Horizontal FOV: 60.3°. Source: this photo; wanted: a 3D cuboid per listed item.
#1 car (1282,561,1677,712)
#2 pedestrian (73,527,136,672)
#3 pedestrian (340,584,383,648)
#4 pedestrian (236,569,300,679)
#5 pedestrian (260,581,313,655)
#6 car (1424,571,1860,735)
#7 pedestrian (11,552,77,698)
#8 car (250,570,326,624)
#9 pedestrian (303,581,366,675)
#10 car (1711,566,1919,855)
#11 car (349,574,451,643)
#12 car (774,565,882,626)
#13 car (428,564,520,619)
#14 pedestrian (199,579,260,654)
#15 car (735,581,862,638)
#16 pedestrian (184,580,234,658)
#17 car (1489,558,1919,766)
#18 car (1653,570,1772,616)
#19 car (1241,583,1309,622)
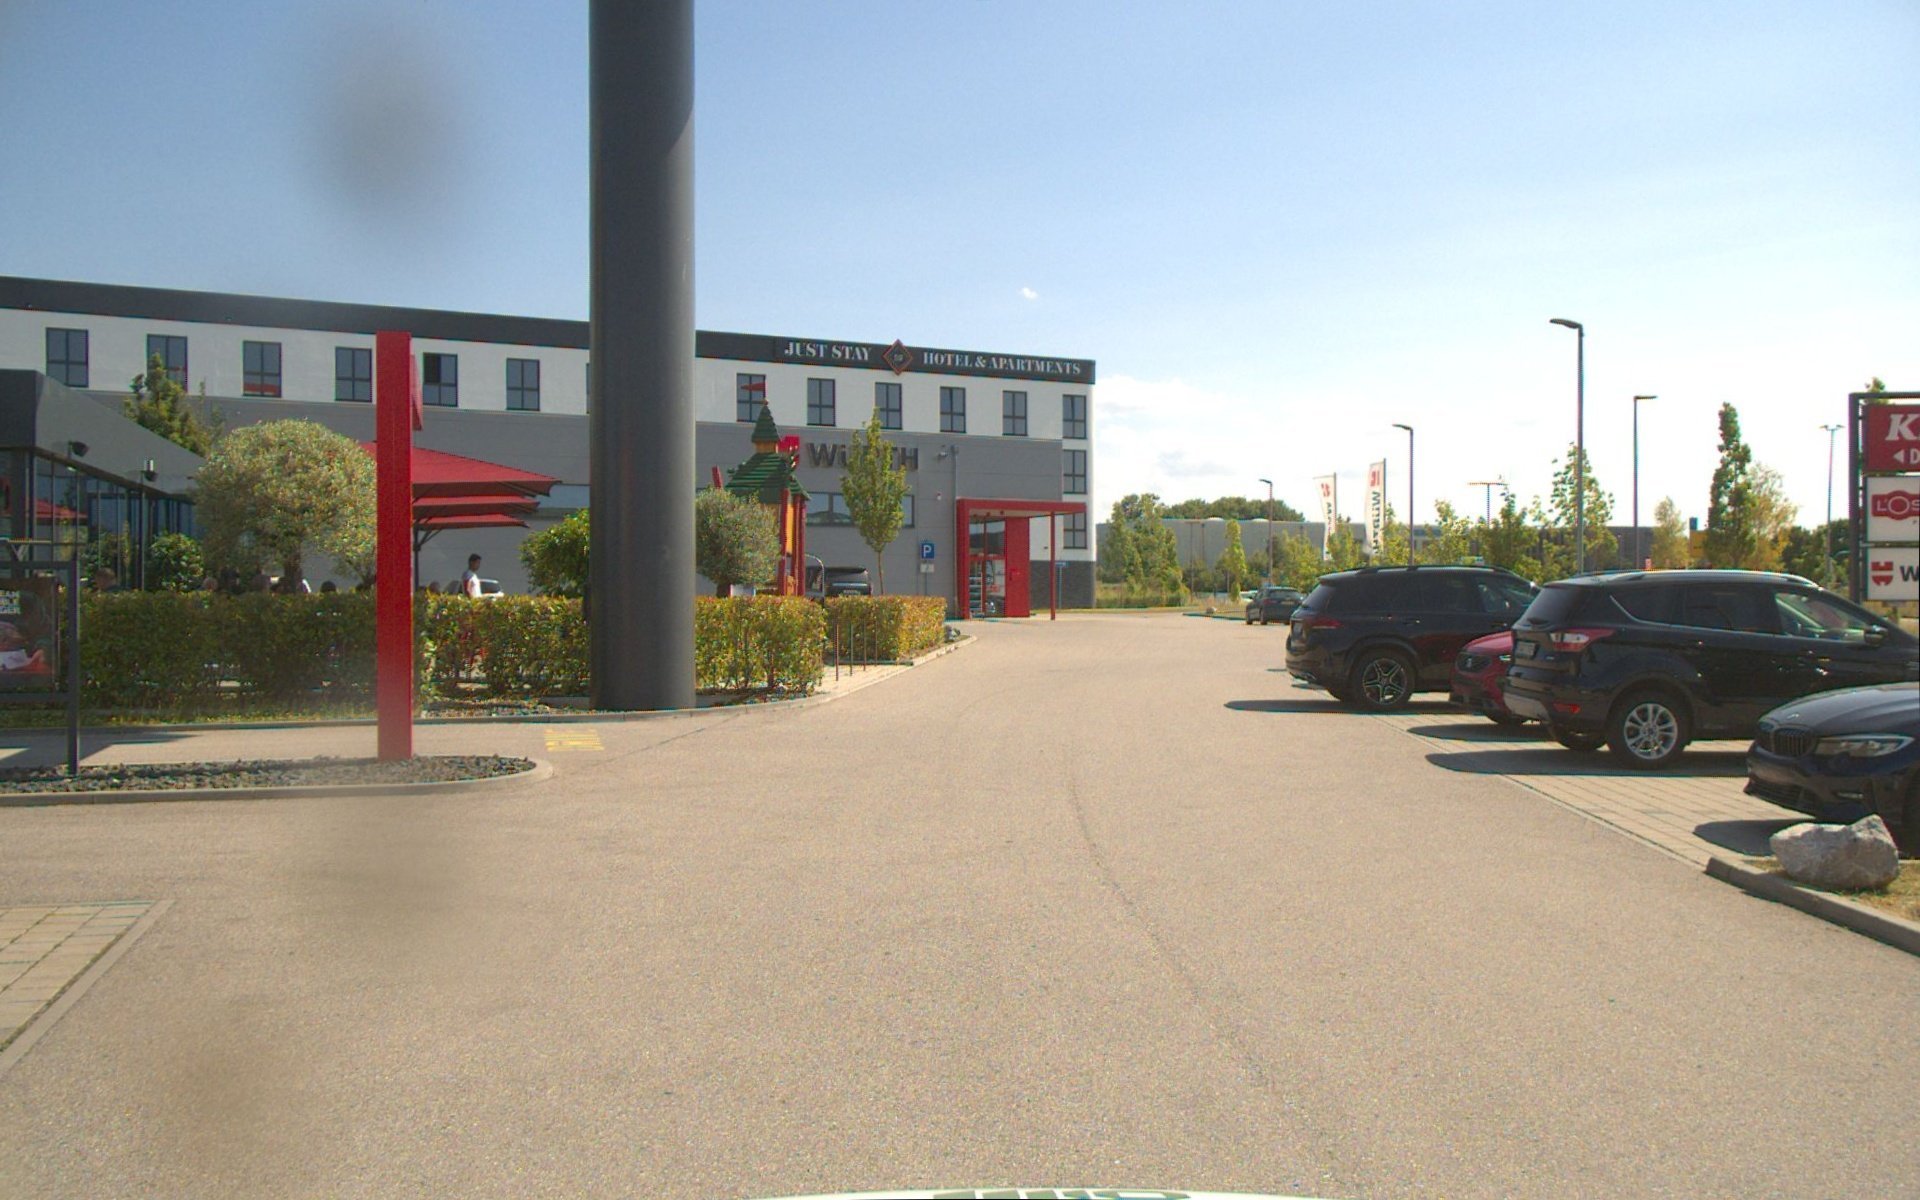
[{"bbox_3d":[6.559,0.435,21.253,4.481,1.791,1.896,1,0,1],"label":"car"},{"bbox_3d":[-9.212,-0.014,17.822,0.516,1.531,0.566,0,1,-19],"label":"pedestrian"},{"bbox_3d":[-10.548,0.282,29.157,0.564,1.108,0.545,0,1,-1],"label":"pedestrian"},{"bbox_3d":[-8.906,0.290,21.295,0.645,1.390,0.475,-1,1,-42],"label":"pedestrian"},{"bbox_3d":[-11.222,0.294,27.577,0.694,1.219,0.615,0,1,-9],"label":"pedestrian"},{"bbox_3d":[7.341,0.533,18.120,3.984,1.637,1.896,1,1,0],"label":"car"},{"bbox_3d":[-9.831,0.259,17.762,0.516,1.531,0.566,0,1,-19],"label":"pedestrian"},{"bbox_3d":[-19.644,-0.113,48.270,1.711,1.513,3.916,0,1,-28],"label":"car"},{"bbox_3d":[-8.155,0.354,21.561,0.645,1.205,0.475,-1,1,-42],"label":"pedestrian"},{"bbox_3d":[7.345,0.663,10.435,4.344,1.666,1.896,1,0,3],"label":"car"},{"bbox_3d":[-11.437,0.142,33.962,1.614,1.331,3.828,0,1,-13],"label":"car"},{"bbox_3d":[-4.429,-0.194,54.770,2.045,1.913,4.840,0,1,-25],"label":"car"},{"bbox_3d":[-15.011,-0.291,50.915,1.925,1.613,4.337,0,1,-28],"label":"car"},{"bbox_3d":[-12.137,0.267,27.498,0.692,1.219,0.617,0,1,14],"label":"pedestrian"},{"bbox_3d":[-4.273,0.213,43.254,1.841,1.386,4.337,0,1,-28],"label":"car"},{"bbox_3d":[-11.982,0.299,26.405,0.698,1.219,0.663,0,1,-24],"label":"pedestrian"},{"bbox_3d":[7.227,0.528,15.094,4.228,1.732,1.896,1,0,4],"label":"car"},{"bbox_3d":[29.761,-0.310,65.560,1.958,1.763,4.747,0,1,-11],"label":"car"},{"bbox_3d":[11.960,0.060,62.973,1.664,1.431,3.895,0,1,-3],"label":"car"}]
